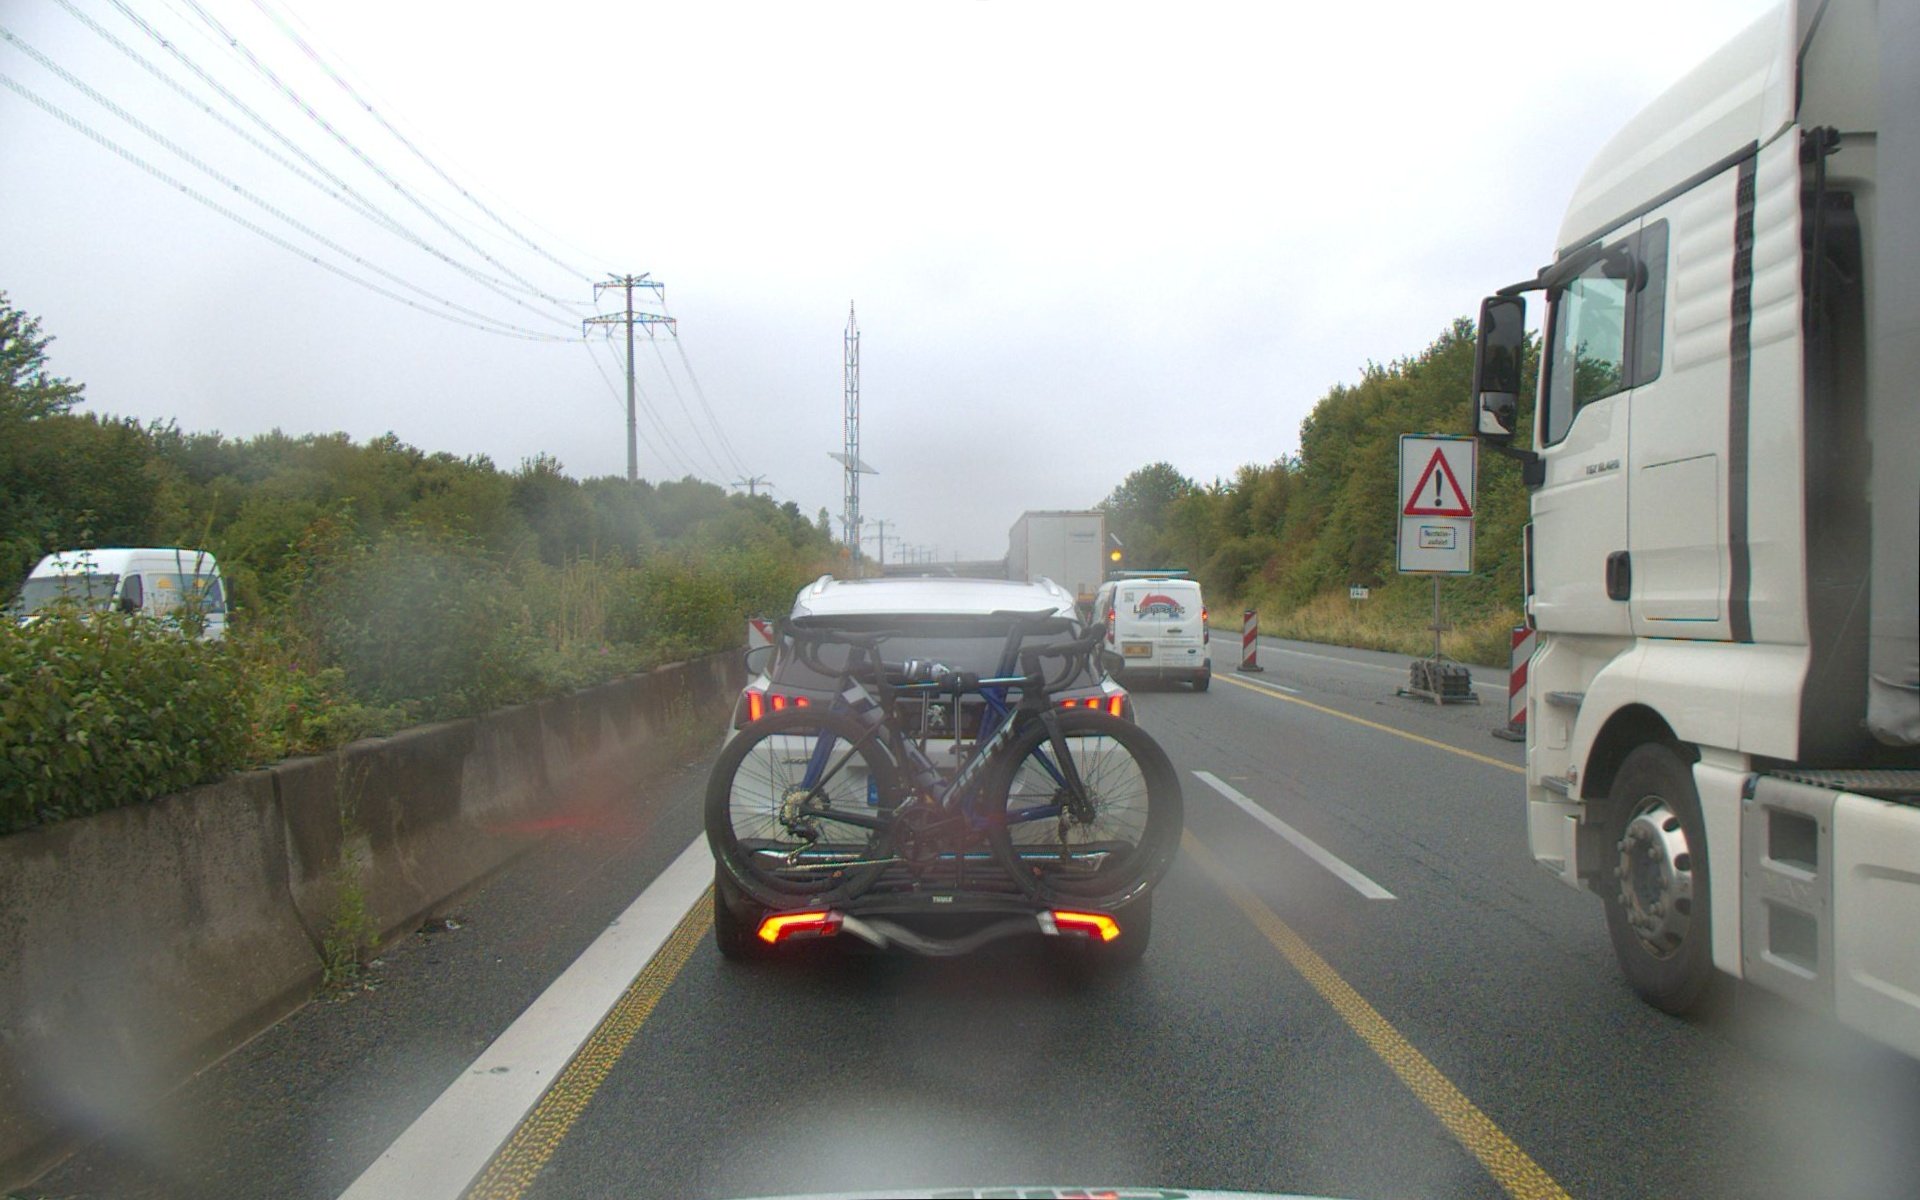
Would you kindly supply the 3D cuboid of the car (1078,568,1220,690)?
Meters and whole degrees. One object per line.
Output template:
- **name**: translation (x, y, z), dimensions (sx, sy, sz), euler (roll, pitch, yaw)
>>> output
- **car**: translation (3.084, 0.431, 27.846), dimensions (1.792, 1.871, 4.654), euler (0, 0, -1)

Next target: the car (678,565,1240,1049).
- **car**: translation (-0.034, 0.660, 7.729), dimensions (1.812, 1.557, 4.768), euler (0, 0, -1)

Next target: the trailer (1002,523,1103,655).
- **trailer**: translation (3.079, -0.374, 58.712), dimensions (2.638, 4.148, 13.631), euler (0, 0, -1)

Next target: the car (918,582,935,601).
- **car**: translation (-3.761, -0.998, 188.475), dimensions (1.892, 2.008, 4.000), euler (0, 1, -1)

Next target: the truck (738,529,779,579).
- **truck**: translation (-17.602, -3.950, 144.974), dimensions (2.730, 4.093, 7.231), euler (-3, 0, -1)

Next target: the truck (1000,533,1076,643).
- **truck**: translation (3.008, -0.459, 65.646), dimensions (2.606, 4.148, 6.538), euler (0, 0, -1)

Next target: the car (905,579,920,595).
- **car**: translation (-5.920, -1.672, 207.271), dimensions (1.892, 1.944, 4.000), euler (0, 1, -1)

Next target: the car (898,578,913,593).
- **car**: translation (-7.205, -1.927, 219.926), dimensions (1.892, 2.008, 4.000), euler (0, 1, -1)

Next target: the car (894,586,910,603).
- **car**: translation (-8.502, -0.847, 242.687), dimensions (2.212, 2.467, 4.000), euler (0, 1, -1)

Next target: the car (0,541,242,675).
- **car**: translation (-15.708, 0.131, 31.182), dimensions (2.136, 2.304, 5.203), euler (0, 0, -1)

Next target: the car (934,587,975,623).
- **car**: translation (-0.260, 0.203, 75.147), dimensions (1.812, 1.557, 3.999), euler (0, 0, -1)

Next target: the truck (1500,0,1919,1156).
- **truck**: translation (3.868, -0.631, 4.832), dimensions (2.651, 4.211, 5.689), euler (0, 0, -1)

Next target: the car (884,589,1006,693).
- **car**: translation (-0.253, 0.605, 26.768), dimensions (1.812, 1.557, 3.999), euler (0, 0, -1)

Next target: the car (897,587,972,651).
- **car**: translation (-0.644, 0.455, 42.151), dimensions (1.812, 1.557, 3.999), euler (0, 0, -1)

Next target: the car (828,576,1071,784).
- **car**: translation (-0.105, 0.591, 14.408), dimensions (1.812, 1.557, 3.999), euler (0, 0, -1)

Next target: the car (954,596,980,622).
- **car**: translation (0.554, 0.734, 138.520), dimensions (2.104, 2.008, 4.000), euler (0, 1, -1)

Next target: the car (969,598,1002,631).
- **car**: translation (1.643, 0.931, 108.365), dimensions (2.067, 2.008, 4.000), euler (0, 1, -1)
